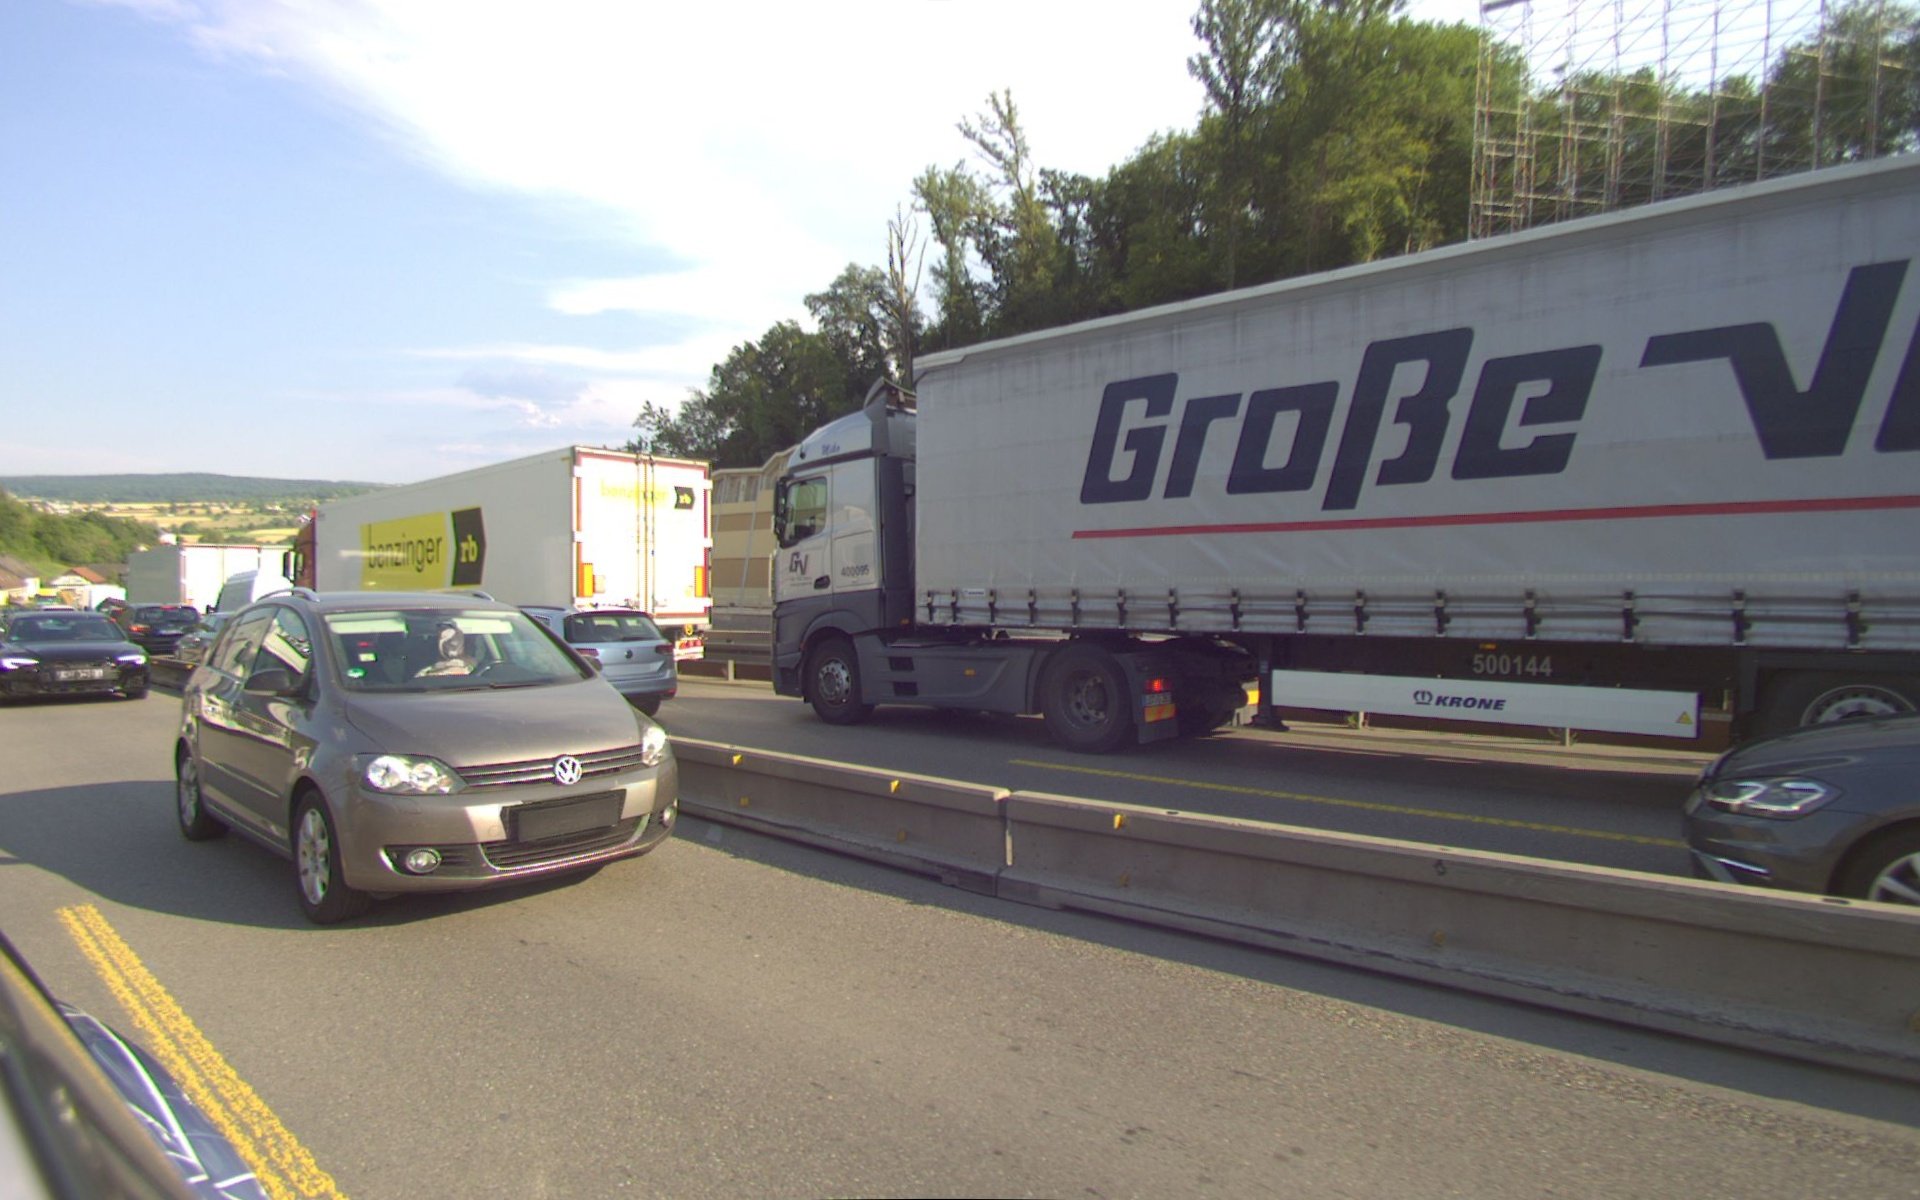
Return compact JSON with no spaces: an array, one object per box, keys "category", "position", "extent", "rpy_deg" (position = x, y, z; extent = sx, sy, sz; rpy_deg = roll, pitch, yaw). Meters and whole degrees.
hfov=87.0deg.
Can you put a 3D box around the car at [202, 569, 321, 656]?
[{"category":"car","position":[-23.961,0.420,34.560],"extent":[6.951,2.710,1.999],"rpy_deg":[-1,0,44]}]

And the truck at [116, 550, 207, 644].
[{"category":"truck","position":[-38.373,-0.130,48.566],"extent":[5.684,4.250,2.682],"rpy_deg":[0,0,44]}]

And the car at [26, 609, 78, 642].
[{"category":"car","position":[-46.773,1.287,52.091],"extent":[1.847,1.601,4.807],"rpy_deg":[1,-1,-44]}]

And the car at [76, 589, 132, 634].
[{"category":"car","position":[-58.978,0.772,69.639],"extent":[2.307,2.940,7.637],"rpy_deg":[1,-1,-45]}]

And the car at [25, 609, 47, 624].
[{"category":"car","position":[-106.286,1.921,116.409],"extent":[1.795,1.591,4.759],"rpy_deg":[3,-3,-43]}]

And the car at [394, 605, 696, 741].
[{"category":"car","position":[-5.602,0.829,13.314],"extent":[4.836,1.450,1.714],"rpy_deg":[-1,0,42]}]

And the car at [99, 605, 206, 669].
[{"category":"car","position":[-23.264,1.012,29.086],"extent":[4.862,1.670,1.733],"rpy_deg":[-1,-1,43]}]

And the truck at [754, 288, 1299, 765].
[{"category":"truck","position":[0.526,-0.629,11.844],"extent":[5.931,4.172,2.758],"rpy_deg":[0,0,41]}]

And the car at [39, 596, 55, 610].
[{"category":"car","position":[-144.534,0.495,160.174],"extent":[1.795,2.015,4.759],"rpy_deg":[3,-3,-43]}]

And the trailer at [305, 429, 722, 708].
[{"category":"trailer","position":[-10.243,-0.458,21.516],"extent":[13.878,4.366,2.736],"rpy_deg":[0,0,42]}]

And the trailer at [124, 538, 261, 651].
[{"category":"trailer","position":[-33.591,-0.165,43.954],"extent":[13.752,4.250,2.690],"rpy_deg":[0,0,44]}]

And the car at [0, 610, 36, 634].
[{"category":"car","position":[-65.697,1.548,70.497],"extent":[1.865,1.580,4.461],"rpy_deg":[-1,0,-41]}]

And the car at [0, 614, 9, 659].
[{"category":"car","position":[-31.884,1.201,32.626],"extent":[1.675,1.409,4.002],"rpy_deg":[-2,0,-45]}]

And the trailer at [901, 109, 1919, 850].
[{"category":"trailer","position":[5.499,-0.672,7.462],"extent":[13.960,4.172,2.770],"rpy_deg":[0,0,41]}]

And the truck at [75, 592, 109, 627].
[{"category":"truck","position":[-89.450,0.995,104.340],"extent":[2.416,3.489,7.631],"rpy_deg":[1,-1,-39]}]

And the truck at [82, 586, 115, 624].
[{"category":"truck","position":[-98.384,0.610,115.610],"extent":[2.674,4.119,14.175],"rpy_deg":[1,-1,-41]}]

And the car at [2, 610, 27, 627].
[{"category":"car","position":[-95.442,1.913,102.137],"extent":[1.795,1.591,4.759],"rpy_deg":[3,-3,-43]}]

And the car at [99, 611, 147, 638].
[{"category":"car","position":[-47.050,1.370,56.843],"extent":[1.723,1.471,4.716],"rpy_deg":[0,-1,-44]}]

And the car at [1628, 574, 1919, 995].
[{"category":"car","position":[4.917,0.619,3.299],"extent":[4.397,1.475,1.633],"rpy_deg":[-1,1,41]}]

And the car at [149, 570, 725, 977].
[{"category":"car","position":[-3.280,0.679,5.936],"extent":[4.098,1.585,1.666],"rpy_deg":[0,0,42]}]

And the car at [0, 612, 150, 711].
[{"category":"car","position":[-14.922,0.918,16.718],"extent":[4.000,1.409,1.842],"rpy_deg":[0,-1,43]}]

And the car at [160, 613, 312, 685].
[{"category":"car","position":[-16.211,1.011,22.554],"extent":[4.889,1.388,1.713],"rpy_deg":[-1,1,42]}]

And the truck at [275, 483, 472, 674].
[{"category":"truck","position":[-15.161,-0.465,25.982],"extent":[5.932,4.332,2.716],"rpy_deg":[0,0,42]}]
